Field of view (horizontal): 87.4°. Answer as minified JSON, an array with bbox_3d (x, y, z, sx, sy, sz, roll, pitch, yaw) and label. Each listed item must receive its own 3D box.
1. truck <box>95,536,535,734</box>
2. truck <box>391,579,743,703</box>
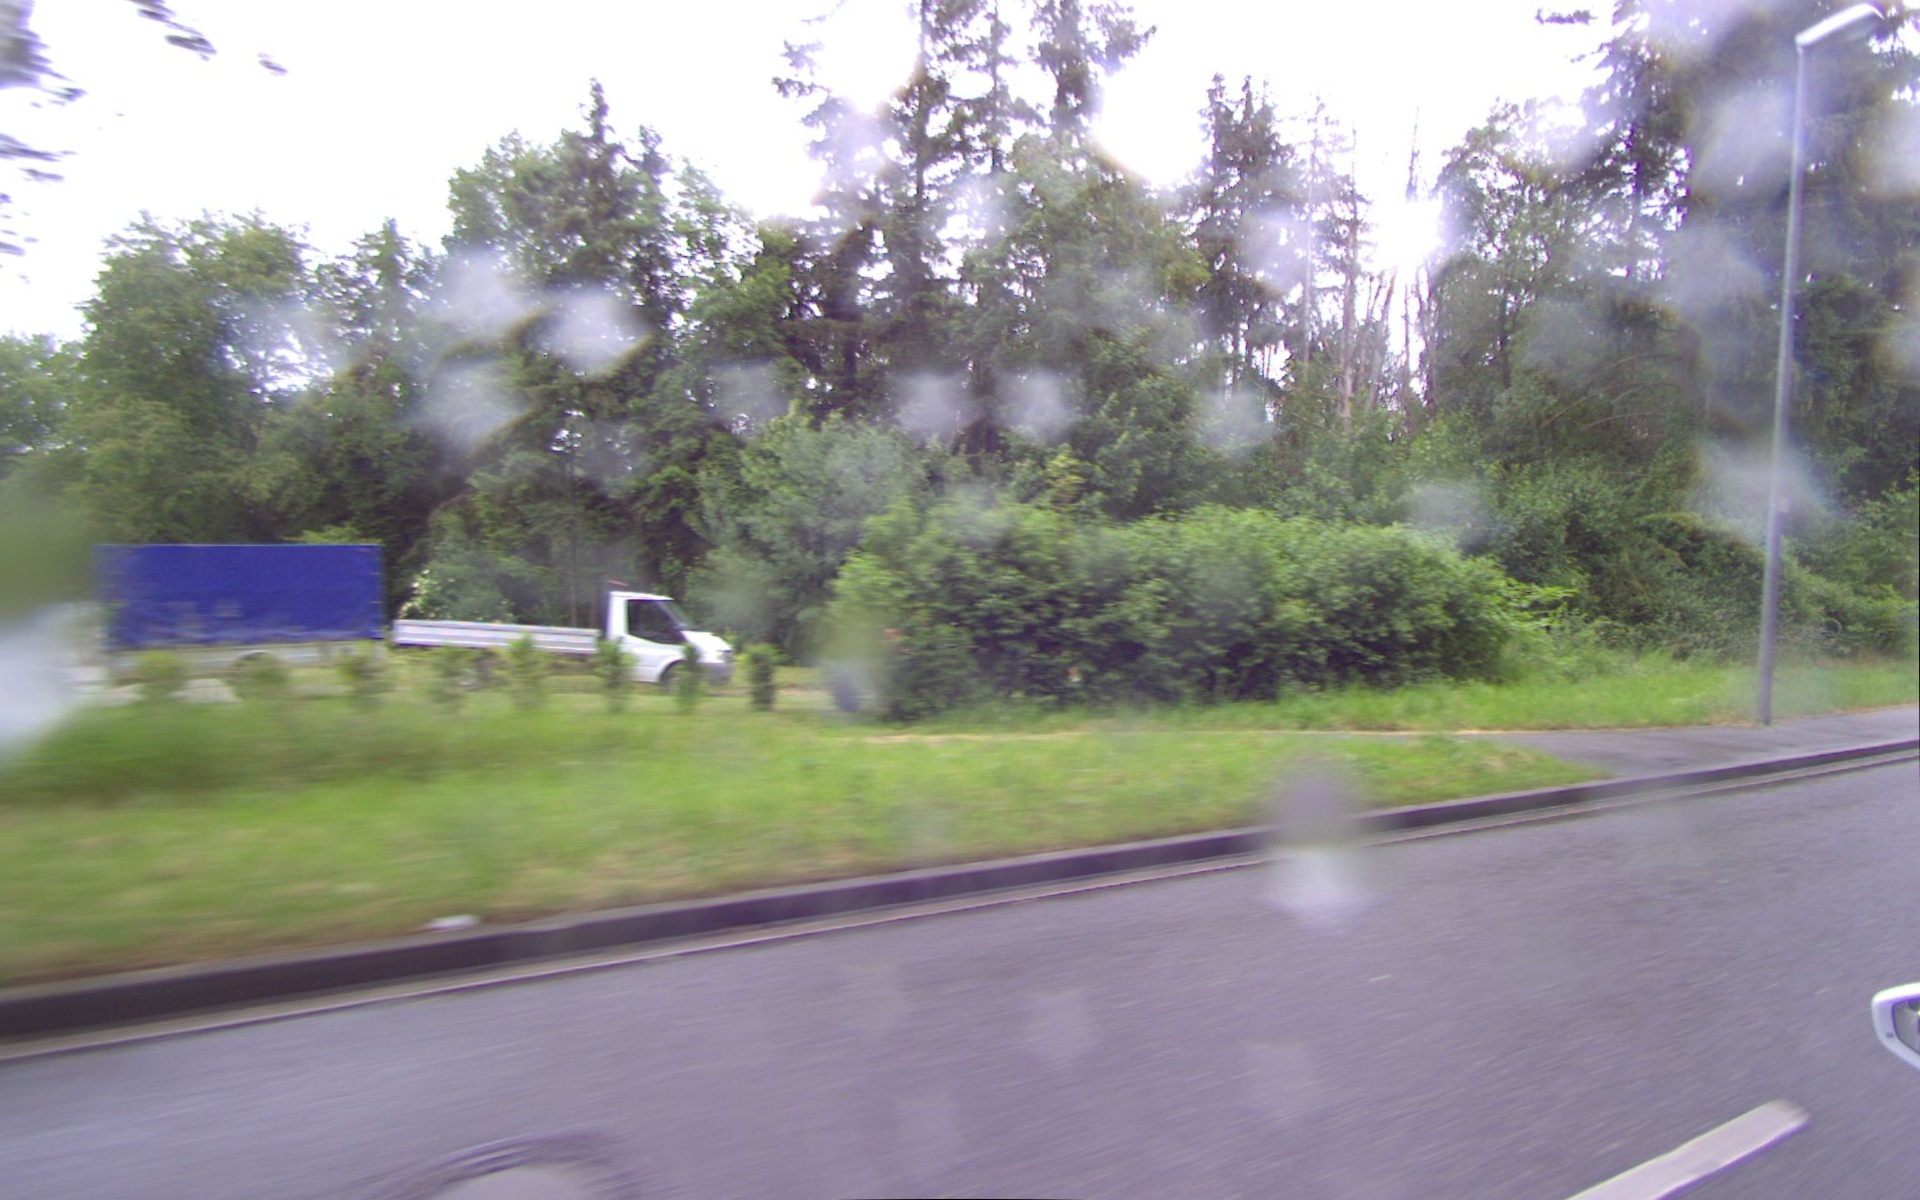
[{"bbox_3d":[-9.256,0.424,14.889,5.168,2.491,1.981,0,2,-34],"label":"truck"},{"bbox_3d":[-7.451,0.776,19.738,6.128,2.232,1.996,1,2,-11],"label":"truck"}]
